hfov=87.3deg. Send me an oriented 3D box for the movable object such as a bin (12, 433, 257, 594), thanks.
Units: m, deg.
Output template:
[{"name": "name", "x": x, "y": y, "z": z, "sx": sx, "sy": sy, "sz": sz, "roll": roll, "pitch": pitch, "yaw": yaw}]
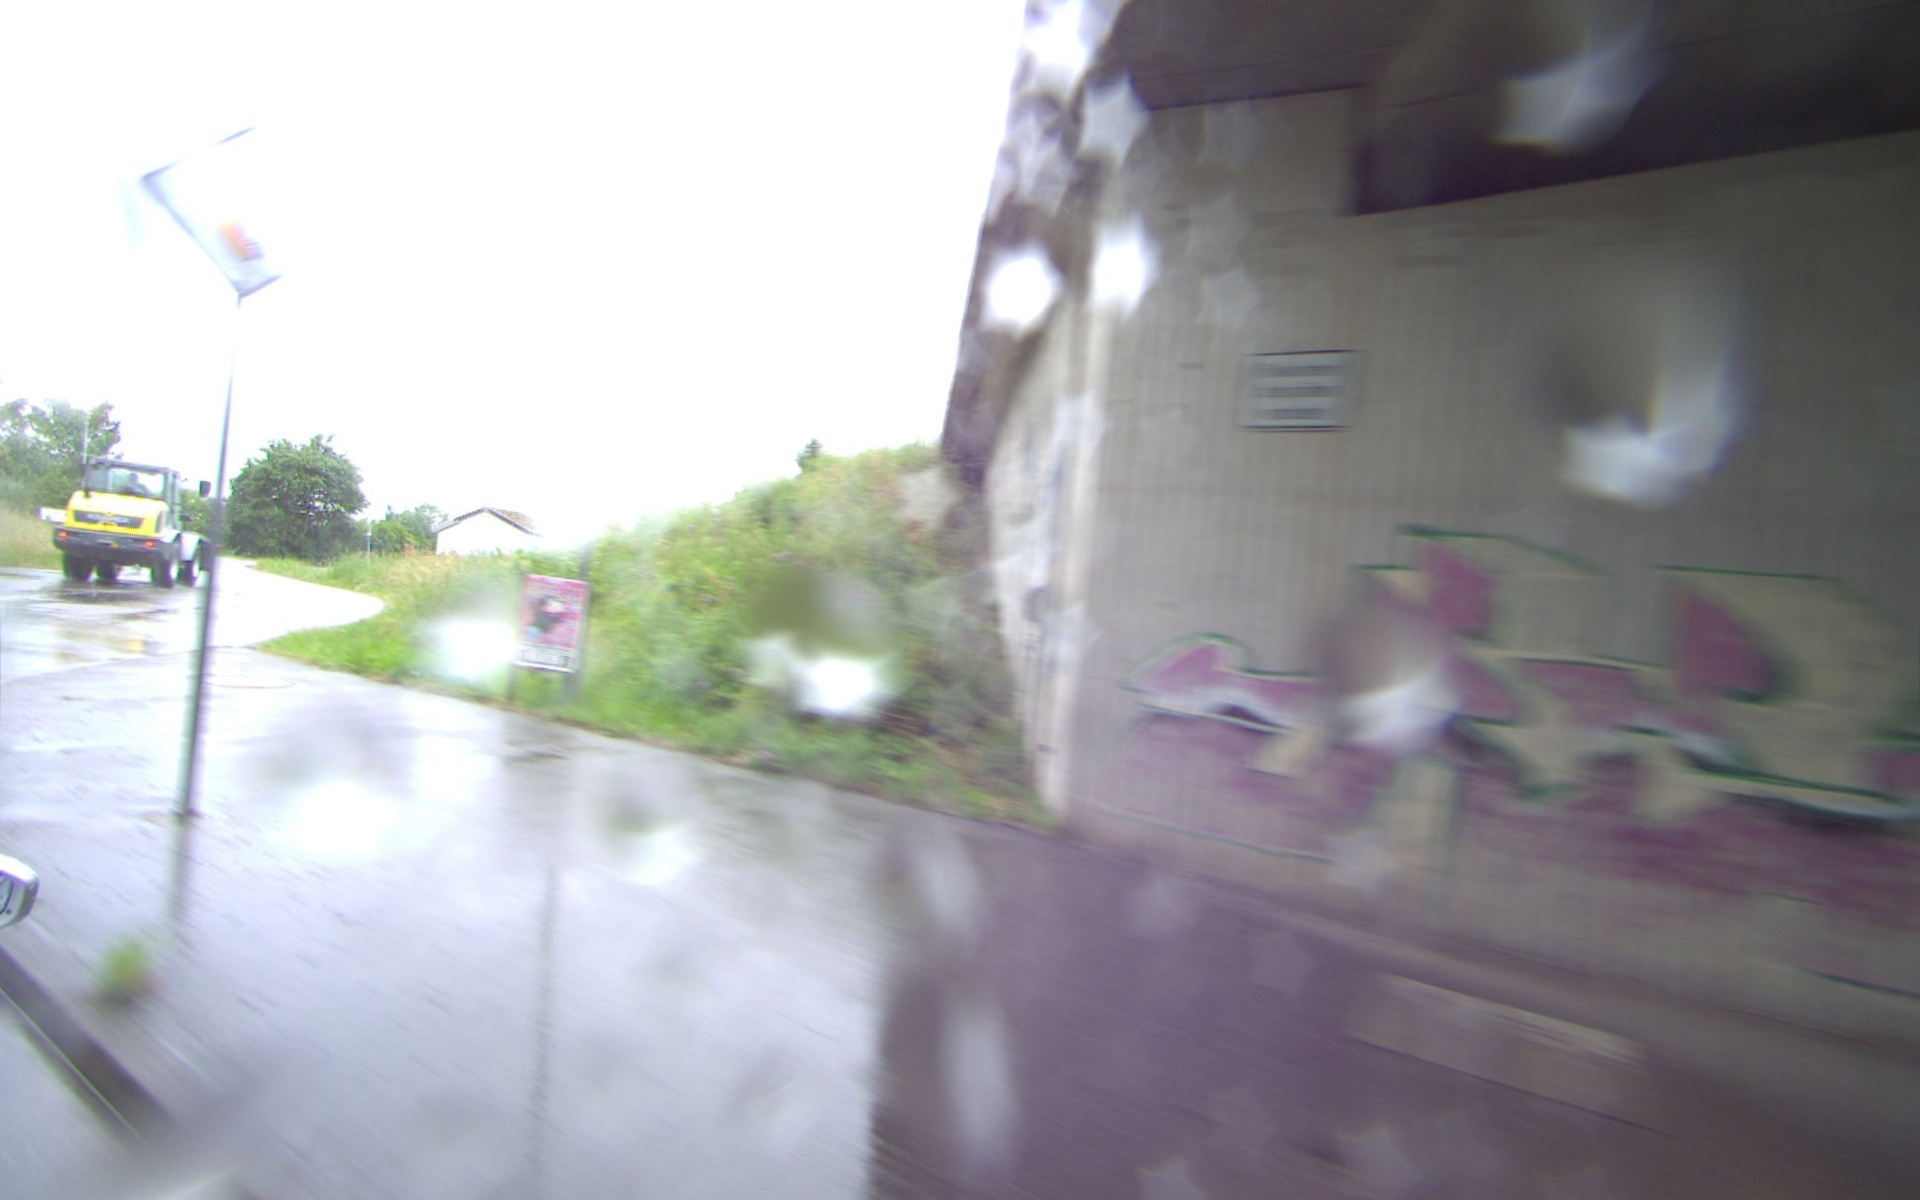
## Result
[{"name": "movable object such as a bin", "x": -17.786, "y": -1.629, "z": 22.204, "sx": 2.225, "sy": 2.699, "sz": 6.592, "roll": 8, "pitch": -3, "yaw": -24}]
